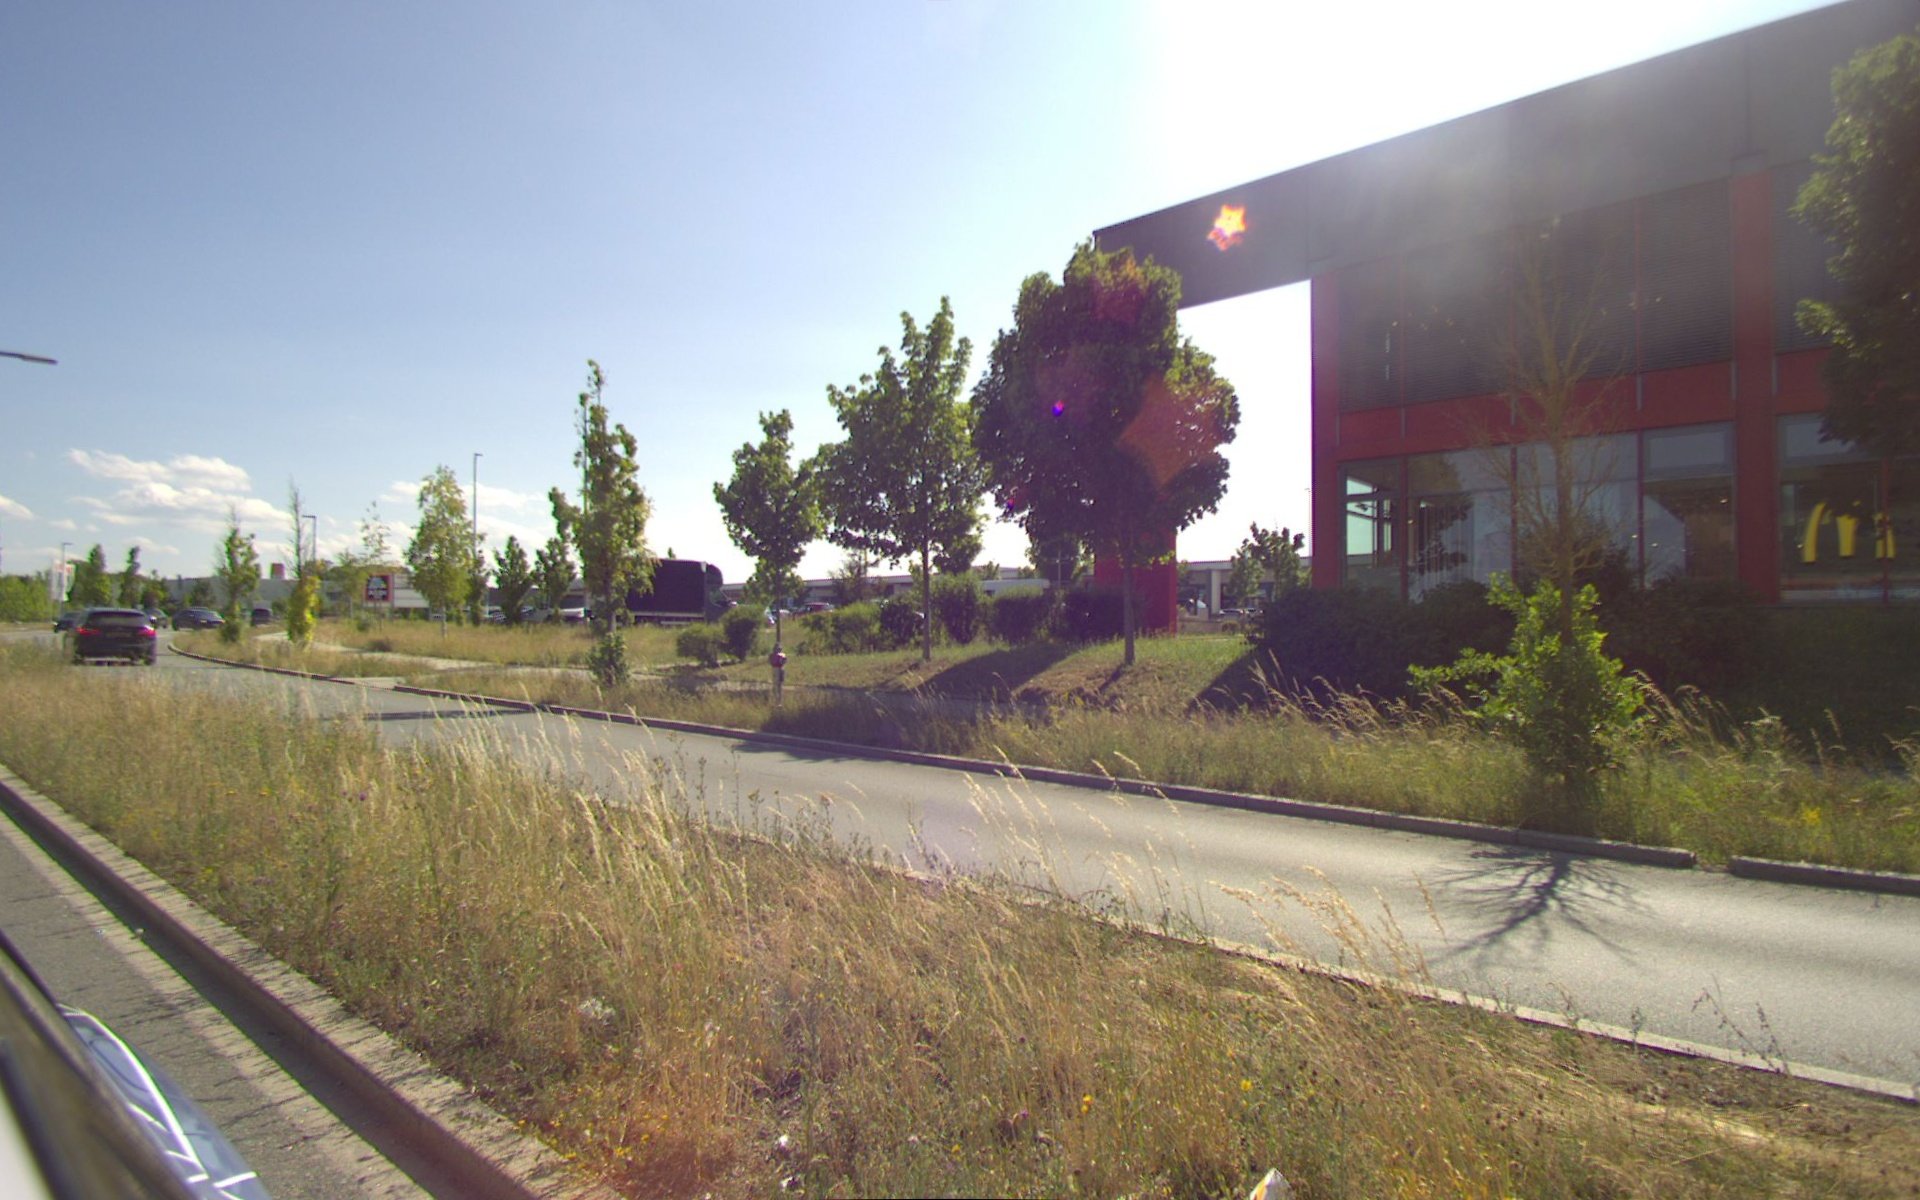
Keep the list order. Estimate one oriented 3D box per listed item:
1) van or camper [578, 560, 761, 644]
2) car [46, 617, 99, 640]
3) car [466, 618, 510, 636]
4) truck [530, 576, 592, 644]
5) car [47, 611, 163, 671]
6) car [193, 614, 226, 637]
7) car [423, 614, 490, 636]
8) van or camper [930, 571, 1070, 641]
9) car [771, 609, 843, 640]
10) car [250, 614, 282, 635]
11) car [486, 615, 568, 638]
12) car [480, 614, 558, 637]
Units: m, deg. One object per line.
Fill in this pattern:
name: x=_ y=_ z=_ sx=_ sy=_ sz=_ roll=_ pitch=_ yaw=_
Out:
van or camper: x=-12.996 y=0.161 z=45.821 sx=7.601 sy=3.495 sz=2.558 roll=2 pitch=-2 yaw=-43
car: x=-59.952 y=1.931 z=68.408 sx=1.756 sy=1.505 sz=4.013 roll=1 pitch=-1 yaw=-27
car: x=-50.360 y=2.840 z=107.957 sx=4.086 sy=1.875 sz=1.938 roll=1 pitch=-2 yaw=-30
truck: x=-21.676 y=0.597 z=55.251 sx=2.285 sy=3.491 sz=7.515 roll=1 pitch=-1 yaw=-15
car: x=-24.235 y=1.144 z=28.645 sx=4.237 sy=1.555 sz=1.740 roll=-1 pitch=-4 yaw=40
car: x=-56.740 y=1.933 z=76.517 sx=1.728 sy=1.700 sz=4.392 roll=2 pitch=-2 yaw=-34
car: x=-40.311 y=1.969 z=81.121 sx=4.694 sy=1.656 sz=2.122 roll=0 pitch=-3 yaw=-25
van or camper: x=1.915 y=0.346 z=51.151 sx=7.232 sy=3.296 sz=2.404 roll=-1 pitch=-2 yaw=41
car: x=-9.047 y=1.443 z=59.700 sx=4.378 sy=1.787 sz=1.813 roll=-1 pitch=-2 yaw=40
car: x=-64.161 y=2.272 z=93.622 sx=1.924 sy=1.808 sz=4.440 roll=3 pitch=-3 yaw=-29
car: x=-26.890 y=1.649 z=62.855 sx=4.363 sy=1.394 sz=1.981 roll=1 pitch=-2 yaw=-33
car: x=-29.384 y=1.715 z=67.469 sx=4.513 sy=1.469 sz=1.843 roll=1 pitch=-2 yaw=-33
